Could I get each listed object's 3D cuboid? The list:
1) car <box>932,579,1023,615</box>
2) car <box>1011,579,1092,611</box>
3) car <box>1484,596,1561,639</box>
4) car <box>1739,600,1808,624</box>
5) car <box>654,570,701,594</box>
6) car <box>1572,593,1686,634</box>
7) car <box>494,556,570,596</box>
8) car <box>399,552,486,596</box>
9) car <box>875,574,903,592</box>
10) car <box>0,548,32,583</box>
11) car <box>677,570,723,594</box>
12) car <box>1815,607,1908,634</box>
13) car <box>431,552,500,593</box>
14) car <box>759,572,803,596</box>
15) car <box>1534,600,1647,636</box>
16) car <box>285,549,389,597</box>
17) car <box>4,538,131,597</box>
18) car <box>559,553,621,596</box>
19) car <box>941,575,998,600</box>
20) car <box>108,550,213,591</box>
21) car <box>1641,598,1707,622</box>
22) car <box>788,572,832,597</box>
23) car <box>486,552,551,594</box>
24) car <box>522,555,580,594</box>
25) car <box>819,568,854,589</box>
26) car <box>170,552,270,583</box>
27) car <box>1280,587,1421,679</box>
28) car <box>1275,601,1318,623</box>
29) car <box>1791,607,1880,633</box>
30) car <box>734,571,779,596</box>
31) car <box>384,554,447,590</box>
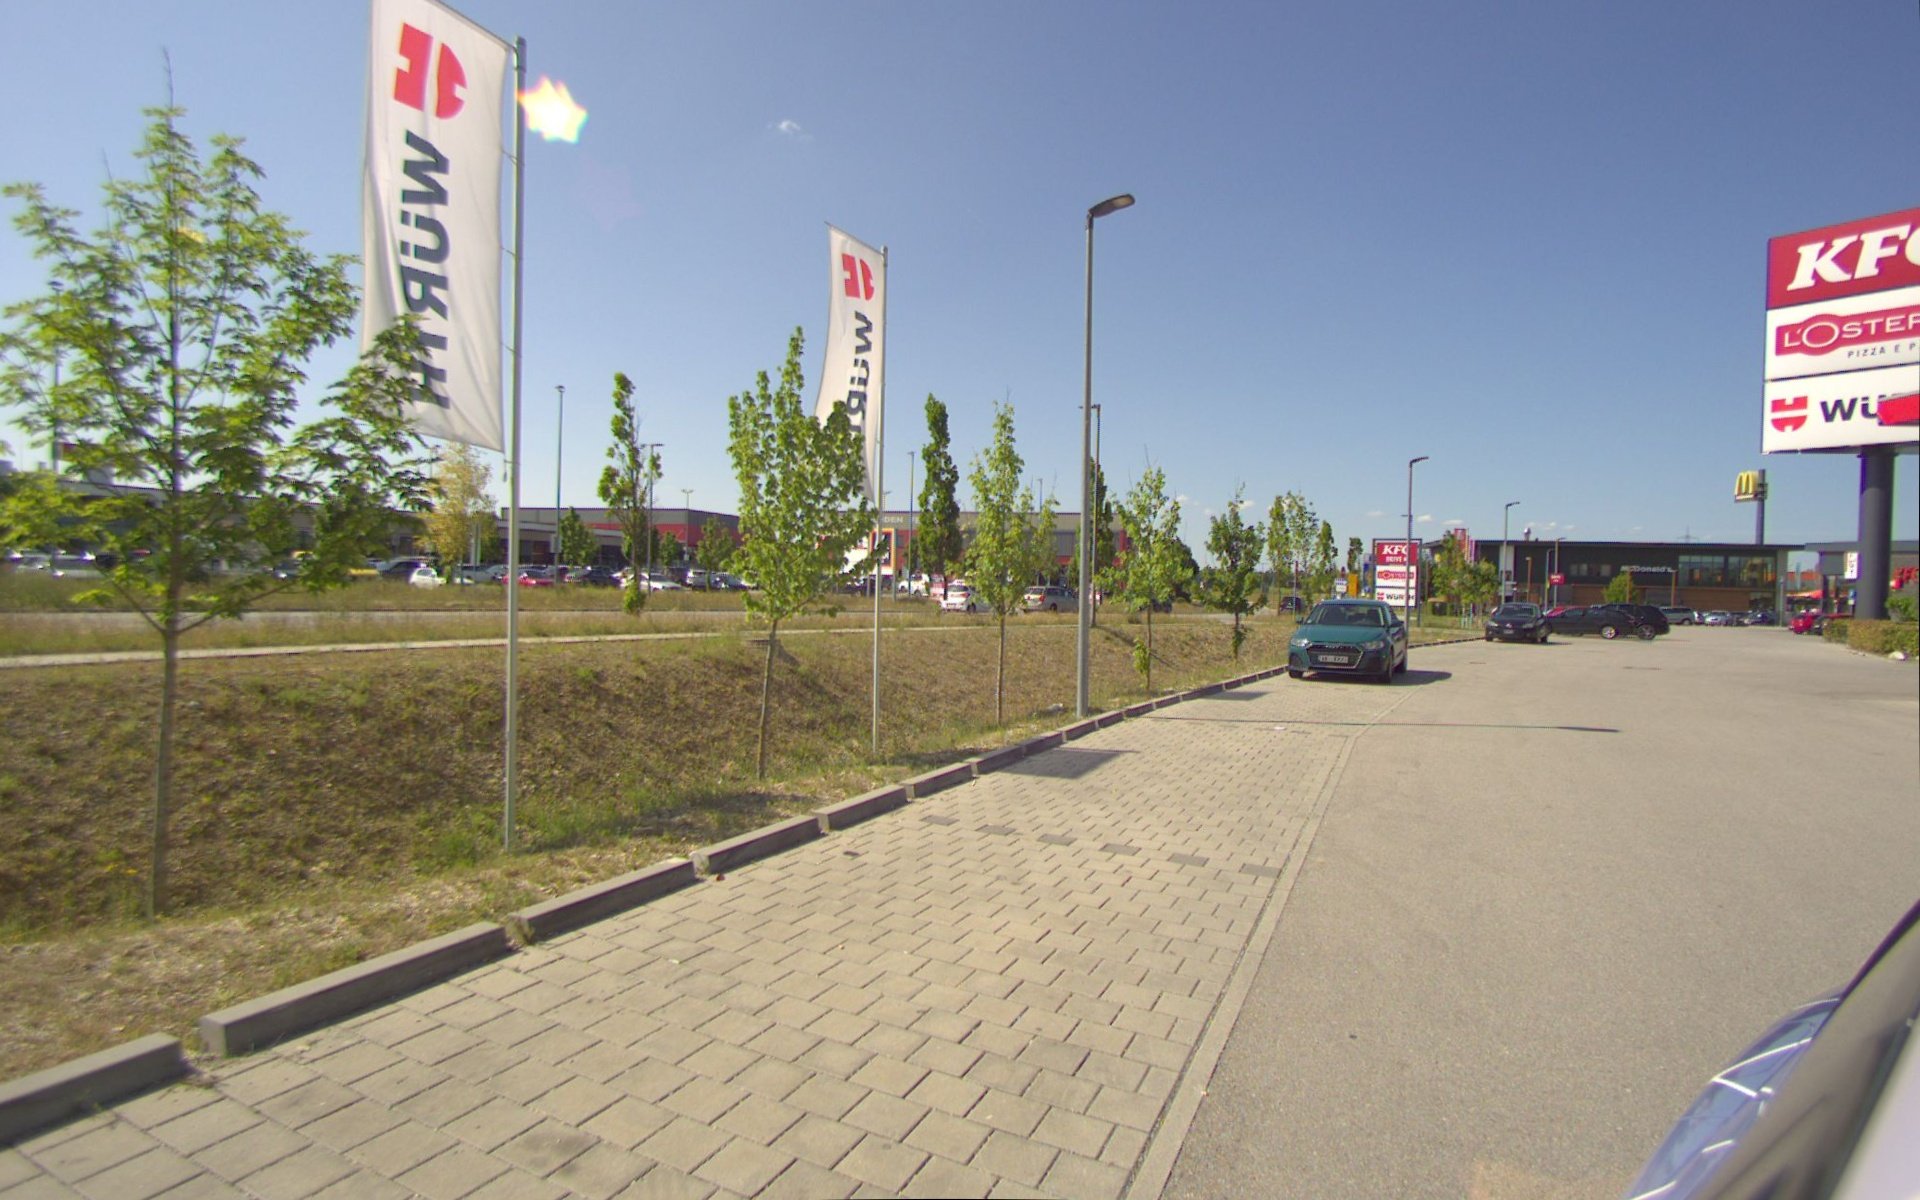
[{"bbox_3d":[0.883,-0.136,47.280,1.934,1.571,4.701,1,1,35],"label":"car"},{"bbox_3d":[4.800,-0.260,52.580,1.937,1.571,4.694,1,1,38],"label":"car"},{"bbox_3d":[21.400,0.652,38.408,1.869,1.484,4.303,2,1,38],"label":"car"},{"bbox_3d":[73.630,1.059,91.675,4.423,2.039,1.990,1,0,17],"label":"car"},{"bbox_3d":[-25.376,-1.596,90.931,1.973,2.063,4.460,1,1,17],"label":"car"},{"bbox_3d":[33.795,0.648,51.171,4.519,1.858,1.969,2,1,43],"label":"car"},{"bbox_3d":[-22.867,-1.297,54.063,4.114,2.039,1.858,2,1,36],"label":"car"},{"bbox_3d":[-25.631,-1.305,50.082,4.381,2.039,1.920,2,1,34],"label":"car"},{"bbox_3d":[-8.692,-2.086,123.765,1.973,2.063,4.460,1,1,17],"label":"car"},{"bbox_3d":[-43.673,-1.537,44.426,1.850,1.527,3.976,1,1,18],"label":"car"},{"bbox_3d":[-23.118,-1.547,90.164,1.973,2.063,4.460,1,1,17],"label":"car"},{"bbox_3d":[58.541,1.314,65.785,4.041,1.585,1.869,2,1,17],"label":"car"},{"bbox_3d":[-35.614,-1.969,73.071,1.973,2.857,4.460,1,0,17],"label":"car"},{"bbox_3d":[-15.466,-1.383,87.842,1.973,2.063,4.460,1,1,17],"label":"car"},{"bbox_3d":[30.249,0.840,48.693,4.501,1.477,1.977,2,1,33],"label":"car"},{"bbox_3d":[-28.230,-1.235,45.791,5.082,2.039,2.138,2,1,34],"label":"car"},{"bbox_3d":[-32.982,-1.223,37.355,5.076,2.039,2.140,2,1,32],"label":"car"},{"bbox_3d":[-25.556,-1.753,70.001,1.969,2.857,4.470,1,0,11],"label":"car"},{"bbox_3d":[0.784,-1.072,86.027,4.445,2.063,1.980,1,0,29],"label":"car"},{"bbox_3d":[-45.300,-1.642,57.462,1.969,2.219,4.470,1,1,11],"label":"car"},{"bbox_3d":[64.752,0.898,91.854,4.423,2.039,1.990,1,0,17],"label":"car"},{"bbox_3d":[-12.842,-1.325,86.897,1.973,2.063,4.460,1,1,17],"label":"car"},{"bbox_3d":[-30.896,-1.861,71.008,1.969,2.857,4.470,1,0,11],"label":"car"},{"bbox_3d":[-31.442,-1.951,77.933,1.969,2.857,4.470,1,0,11],"label":"car"},{"bbox_3d":[-12.812,-2.204,105.292,1.973,2.063,4.460,1,1,17],"label":"car"},{"bbox_3d":[-40.659,-1.761,55.746,1.634,1.539,4.323,1,1,19],"label":"car"},{"bbox_3d":[7.407,0.551,18.959,1.831,1.468,4.181,2,1,30],"label":"car"},{"bbox_3d":[25.367,0.862,76.165,1.933,1.571,4.703,1,1,34],"label":"car"},{"bbox_3d":[59.139,1.337,68.439,4.041,1.585,1.869,2,1,17],"label":"car"},{"bbox_3d":[-17.861,-1.441,89.102,1.973,2.063,4.460,1,1,17],"label":"car"},{"bbox_3d":[-44.436,-2.238,82.698,1.973,2.857,4.460,1,0,17],"label":"car"}]
